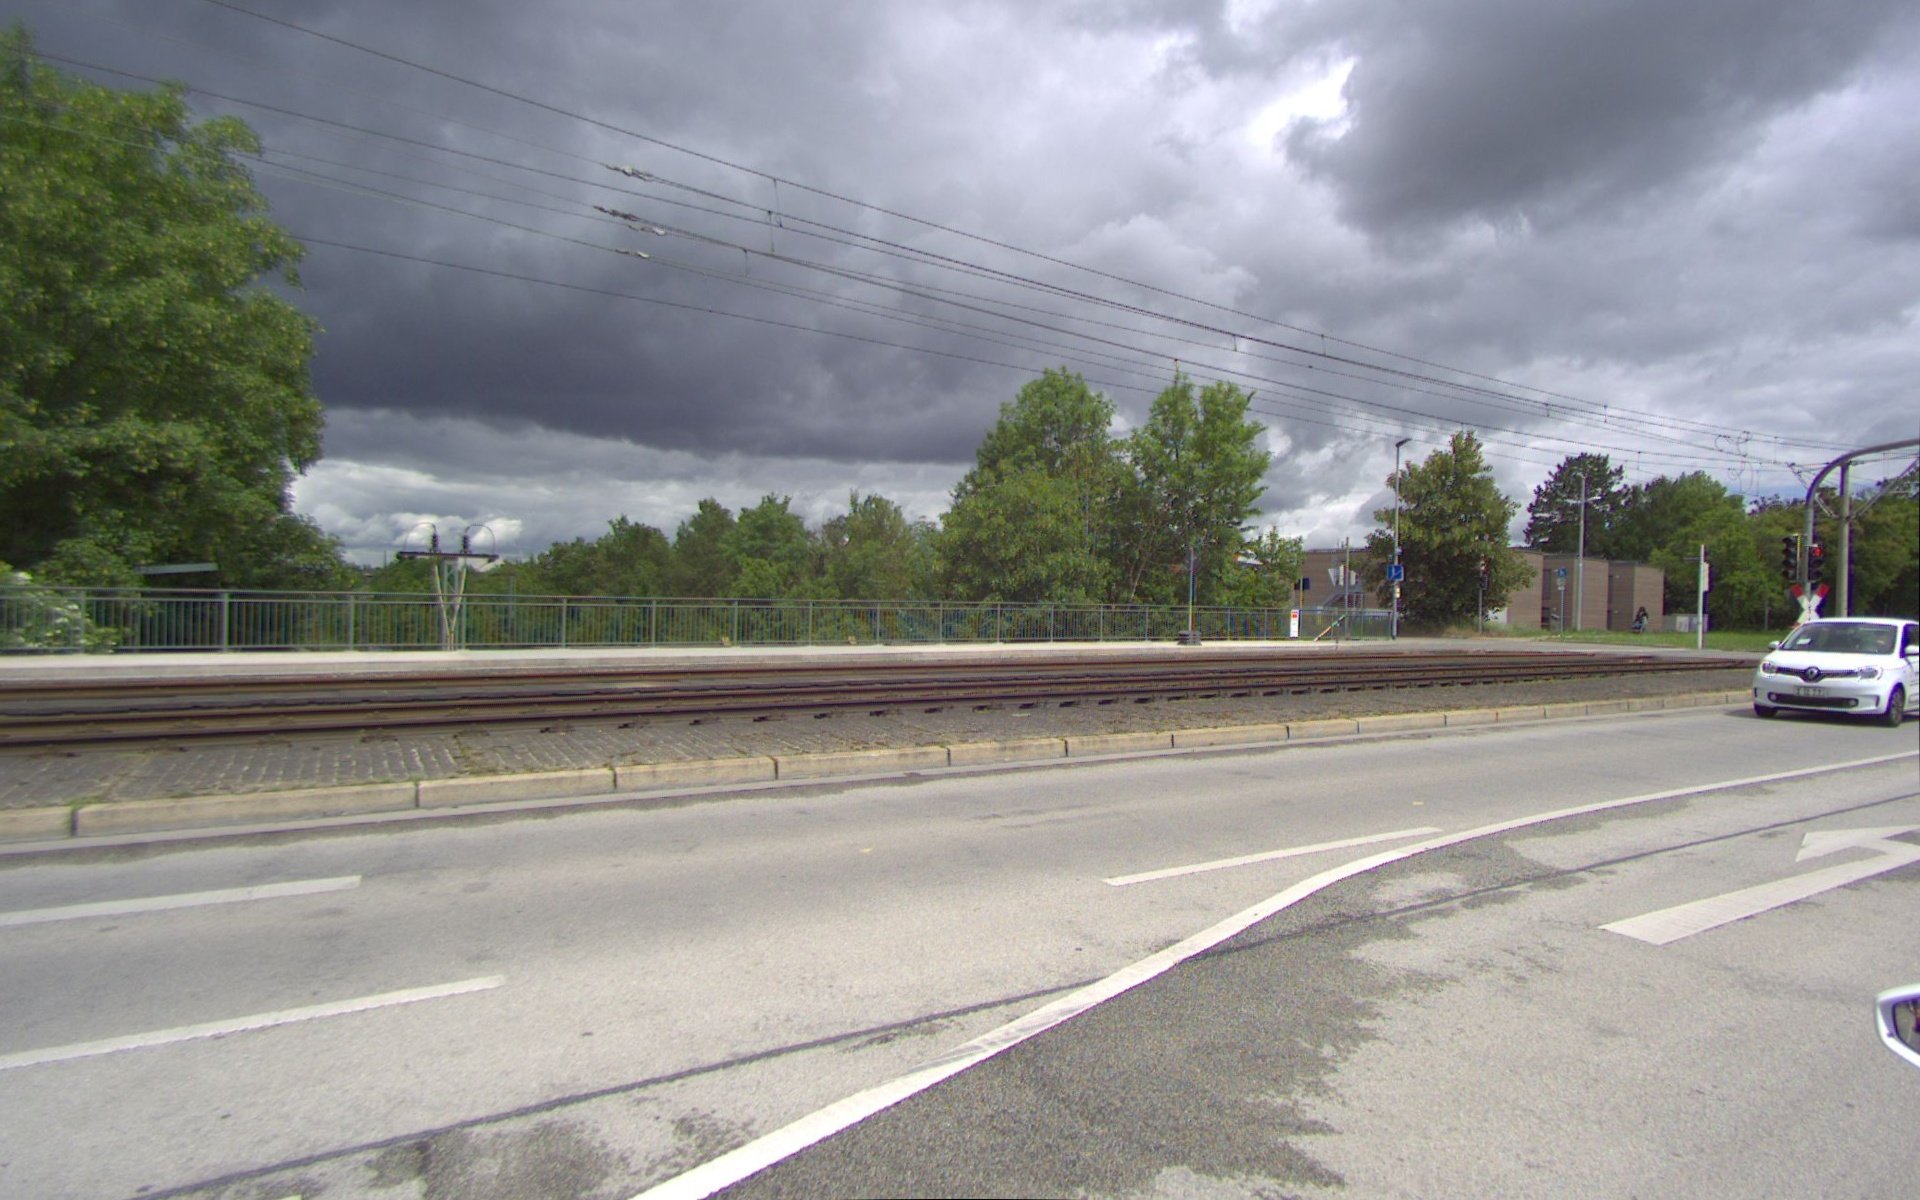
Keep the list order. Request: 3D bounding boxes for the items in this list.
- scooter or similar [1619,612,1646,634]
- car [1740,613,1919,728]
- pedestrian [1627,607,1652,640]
[{"bbox_3d":[38.126,1.307,56.971,0.961,1.200,0.886,1,2,-31],"label":"scooter or similar"},{"bbox_3d":[13.731,1.019,15.440,3.614,1.547,1.584,1,0,-32],"label":"car"},{"bbox_3d":[38.838,1.324,57.404,0.799,1.836,0.798,1,2,-29],"label":"pedestrian"}]
